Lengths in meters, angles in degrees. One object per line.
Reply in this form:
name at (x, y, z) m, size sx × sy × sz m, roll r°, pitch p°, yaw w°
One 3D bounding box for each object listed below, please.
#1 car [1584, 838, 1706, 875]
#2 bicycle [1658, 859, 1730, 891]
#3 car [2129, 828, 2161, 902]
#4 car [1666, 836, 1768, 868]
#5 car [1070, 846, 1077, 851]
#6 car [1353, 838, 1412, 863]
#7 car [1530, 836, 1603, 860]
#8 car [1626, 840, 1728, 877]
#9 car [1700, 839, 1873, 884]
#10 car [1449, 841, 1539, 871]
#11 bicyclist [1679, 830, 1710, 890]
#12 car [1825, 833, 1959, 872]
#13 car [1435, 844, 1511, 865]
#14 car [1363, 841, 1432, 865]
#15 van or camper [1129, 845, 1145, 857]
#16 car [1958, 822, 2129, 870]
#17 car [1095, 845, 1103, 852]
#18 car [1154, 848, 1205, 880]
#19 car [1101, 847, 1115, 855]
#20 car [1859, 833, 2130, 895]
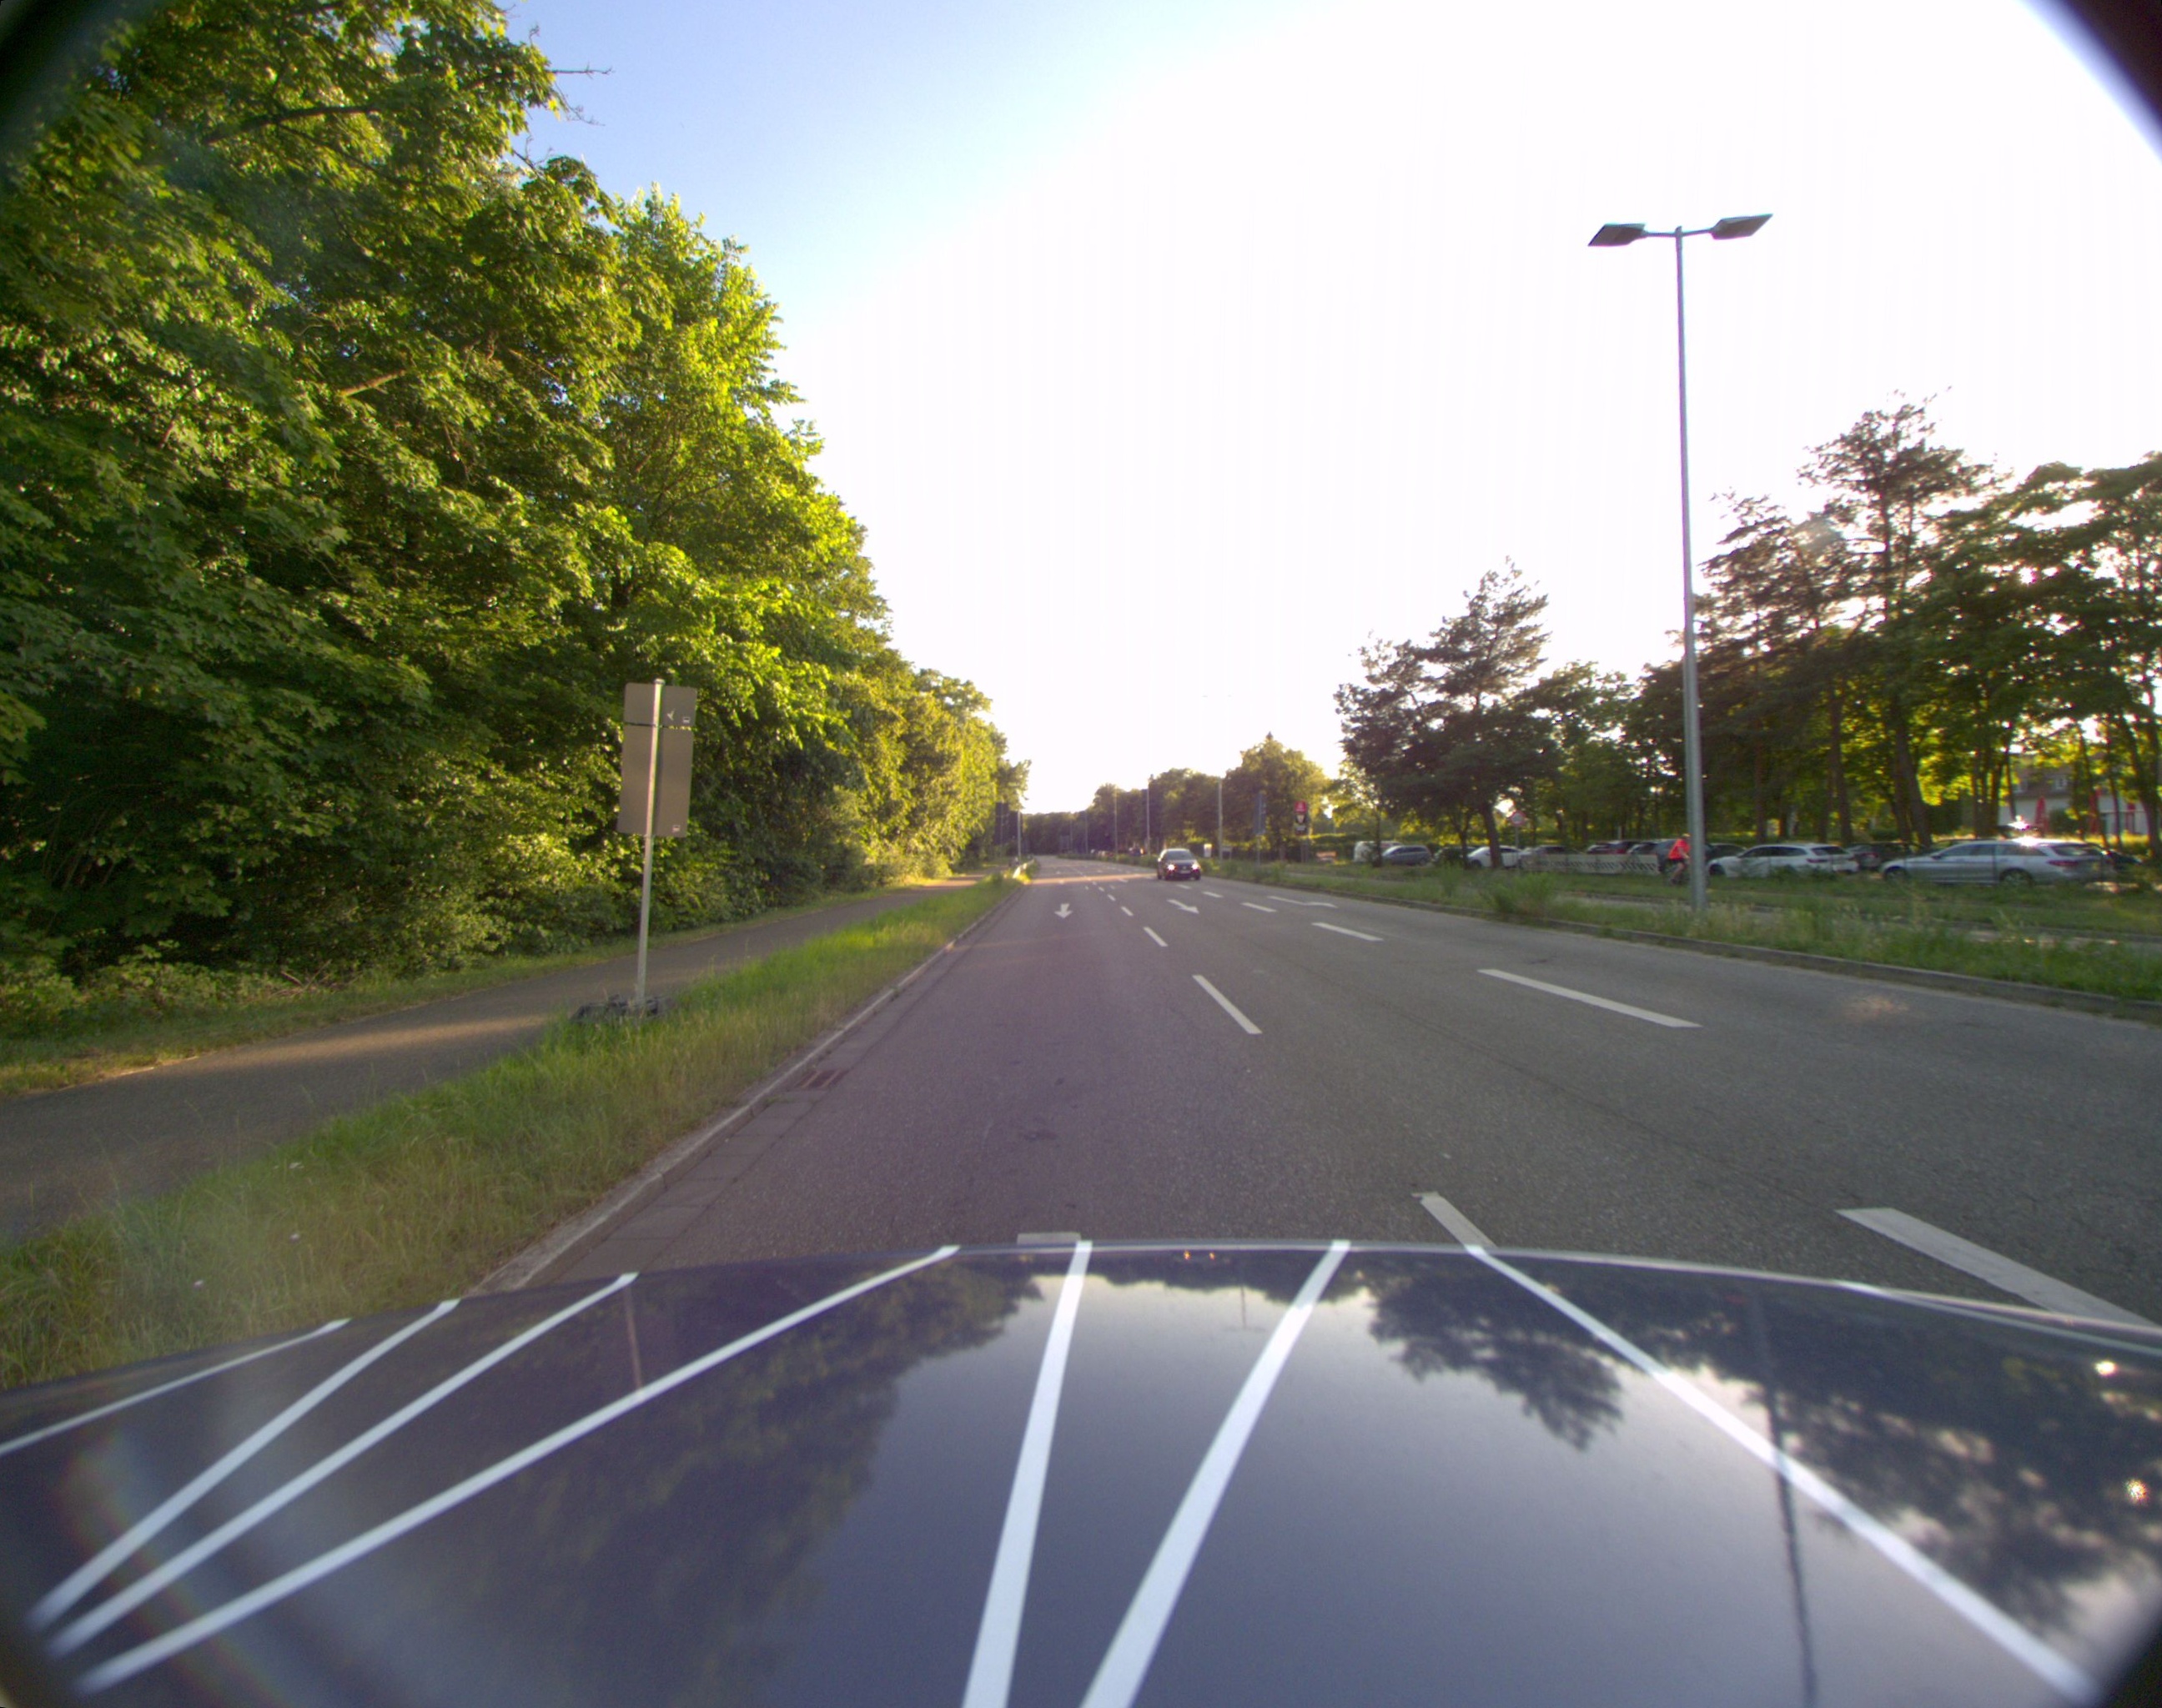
car at (26.506, 0.109, 35.779) m, size 4.525 × 1.608 × 1.771 m, roll -1°, pitch 1°, yaw -3°
bicycle at (19.416, 0.652, 24.127) m, size 0.493 × 0.928 × 2.043 m, roll -1°, pitch 1°, yaw -5°
car at (27.106, 0.258, 16.418) m, size 1.999 × 1.776 × 4.920 m, roll -1°, pitch 1°, yaw -4°
car at (34.079, -0.121, 40.801) m, size 3.997 × 1.641 × 1.766 m, roll -1°, pitch 1°, yaw -1°
car at (-2.290, -1.660, 227.817) m, size 1.760 × 1.532 × 3.998 m, roll -3°, pitch 1°, yaw -4°
car at (24.202, -0.252, 61.067) m, size 3.998 × 1.933 × 1.766 m, roll -1°, pitch 1°, yaw -2°
car at (34.119, -0.402, 53.482) m, size 3.997 × 1.641 × 1.766 m, roll -1°, pitch 1°, yaw -1°
car at (25.610, 0.197, 32.706) m, size 3.099 × 1.518 × 1.659 m, roll -1°, pitch 1°, yaw -2°
car at (26.419, 0.257, 28.735) m, size 1.999 × 1.539 × 4.708 m, roll -1°, pitch 1°, yaw -4°
car at (25.168, 0.129, 46.405) m, size 4.497 × 1.743 × 1.909 m, roll -1°, pitch 1°, yaw -1°
bicyclist at (19.414, 0.178, 24.043) m, size 0.459 × 1.863 × 0.618 m, roll -1°, pitch 1°, yaw -5°
car at (35.419, -0.073, 33.246) m, size 3.997 × 1.641 × 1.766 m, roll -1°, pitch 1°, yaw -1°
car at (25.083, 0.019, 48.755) m, size 3.997 × 1.304 × 1.732 m, roll -1°, pitch 1°, yaw -1°
car at (24.148, -0.099, 58.028) m, size 4.498 × 1.787 × 1.909 m, roll -1°, pitch 1°, yaw -2°
van or camper at (9.578, -0.522, 130.793) m, size 1.999 × 2.002 × 4.575 m, roll -1°, pitch 1°, yaw -5°
car at (34.980, -0.287, 27.690) m, size 3.997 × 1.641 × 1.766 m, roll -1°, pitch 1°, yaw -1°
car at (4.280, -1.251, 182.762) m, size 1.760 × 1.532 × 3.998 m, roll -3°, pitch 1°, yaw -2°
car at (4.942, 0.460, 38.685) m, size 1.999 × 1.543 × 3.999 m, roll -1°, pitch 0°, yaw -1°
car at (5.185, -0.550, 145.060) m, size 2.000 × 1.486 × 4.509 m, roll -1°, pitch 0°, yaw -7°
car at (26.775, 0.246, 22.626) m, size 1.999 × 1.597 × 4.920 m, roll -1°, pitch 1°, yaw -4°
